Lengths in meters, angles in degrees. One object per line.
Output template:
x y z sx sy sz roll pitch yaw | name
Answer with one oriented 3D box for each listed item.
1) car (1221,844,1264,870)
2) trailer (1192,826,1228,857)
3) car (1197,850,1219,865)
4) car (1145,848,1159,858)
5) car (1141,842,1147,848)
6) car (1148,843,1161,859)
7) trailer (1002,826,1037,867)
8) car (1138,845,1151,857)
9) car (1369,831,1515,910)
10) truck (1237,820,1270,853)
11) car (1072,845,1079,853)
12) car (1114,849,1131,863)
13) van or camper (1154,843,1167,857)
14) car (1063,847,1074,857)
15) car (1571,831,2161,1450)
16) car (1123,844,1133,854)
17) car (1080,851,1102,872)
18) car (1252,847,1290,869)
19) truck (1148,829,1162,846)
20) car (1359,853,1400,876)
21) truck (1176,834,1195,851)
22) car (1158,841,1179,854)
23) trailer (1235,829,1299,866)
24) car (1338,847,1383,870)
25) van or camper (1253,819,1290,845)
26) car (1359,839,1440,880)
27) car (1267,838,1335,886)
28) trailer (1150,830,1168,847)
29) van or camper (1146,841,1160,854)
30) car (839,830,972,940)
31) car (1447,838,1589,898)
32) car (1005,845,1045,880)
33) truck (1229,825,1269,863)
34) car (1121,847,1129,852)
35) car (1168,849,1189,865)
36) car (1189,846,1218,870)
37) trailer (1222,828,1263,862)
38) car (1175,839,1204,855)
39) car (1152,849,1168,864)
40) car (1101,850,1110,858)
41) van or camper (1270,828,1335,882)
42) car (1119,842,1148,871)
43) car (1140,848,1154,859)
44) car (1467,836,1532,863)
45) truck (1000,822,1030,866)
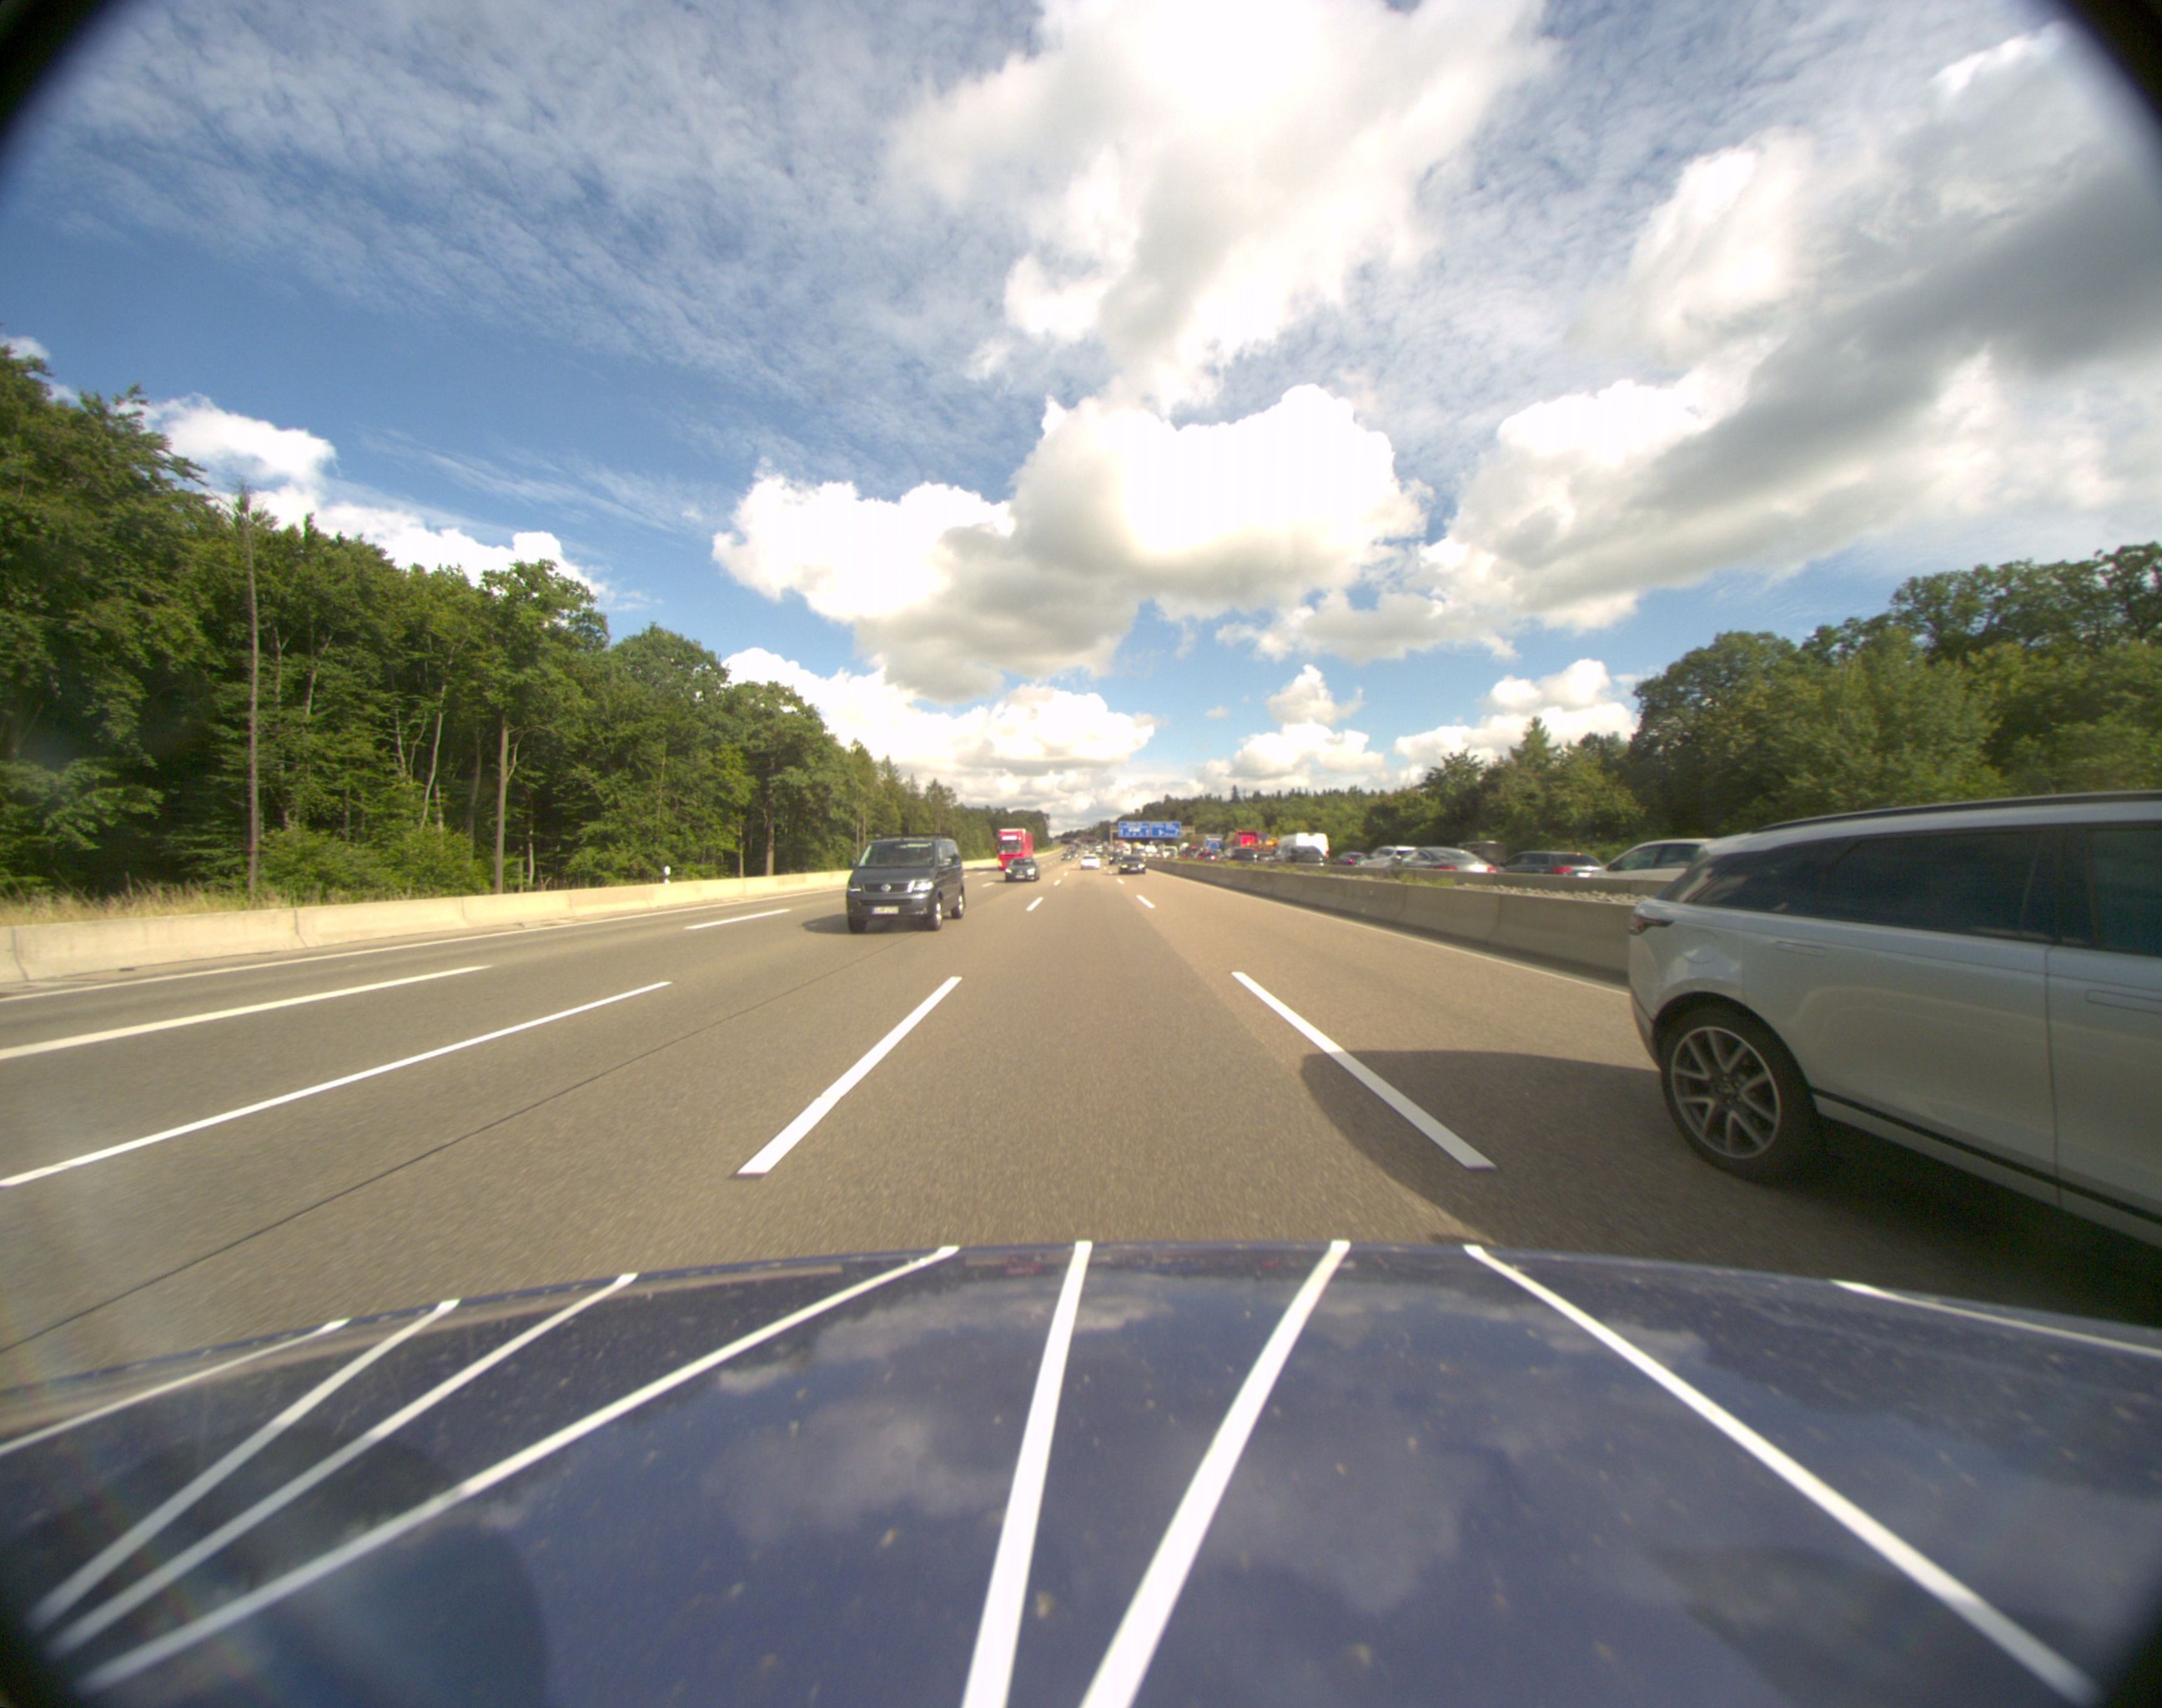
10.392 0.155 49.242 1.841 1.582 4.288 0 1 0 | car
18.946 -1.901 112.486 2.778 4.211 13.654 -2 2 0 | trailer
14.279 0.404 85.562 1.640 1.582 3.999 -2 1 0 | car
10.871 -0.178 117.141 1.761 1.369 3.999 -1 0 0 | car
21.068 -3.087 253.641 1.804 1.865 3.950 -1 1 1 | car
14.081 -0.669 145.567 1.998 2.946 5.402 -3 1 0 | car
-6.534 -0.914 83.150 2.531 4.096 14.373 -1 1 0 | trailer
10.867 -0.527 130.878 1.998 2.002 4.408 -1 2 1 | car
10.152 0.404 21.891 1.910 2.002 5.091 0 0 2 | car
22.322 -2.200 98.554 2.819 4.125 5.452 -1 1 0 | truck
-1.417 -1.229 194.149 1.804 1.865 3.950 -1 1 1 | car
5.096 0.248 94.463 1.911 1.582 4.286 -2 2 0 | car
16.195 -0.831 155.660 2.050 2.696 5.749 -2 2 1 | van or camper
-2.374 -0.408 142.790 1.911 1.582 4.285 -2 2 -2 | car
3.772 0.746 1.814 1.905 1.597 5.104 -1 1 0 | car
11.523 -1.260 186.266 1.998 2.088 5.276 -2 2 1 | car
1.005 0.714 74.372 1.998 2.002 4.000 -2 0 2 | car
15.104 0.304 60.686 1.998 1.527 4.426 -2 2 2 | car
19.134 -4.321 196.391 2.860 4.210 5.712 -2 1 1 | truck
30.688 1.080 78.316 1.890 2.002 6.325 -2 2 2 | car
18.921 -2.070 137.719 2.334 2.785 7.948 -3 1 0 | truck
10.727 -0.820 93.073 1.854 1.347 5.486 -2 2 0 | car
18.453 -0.631 76.521 2.735 3.316 14.217 -2 0 0 | trailer
21.823 0.303 59.572 1.998 1.527 4.426 -2 2 2 | car
23.155 -2.641 92.549 2.579 3.060 7.194 -2 1 0 | van or camper
14.055 0.177 33.805 1.998 1.587 3.999 -2 2 2 | car
9.969 0.329 34.756 1.887 2.002 4.519 -1 0 2 | car
19.127 -3.881 187.070 2.837 3.953 15.999 -2 2 1 | trailer
15.875 -1.439 167.842 2.397 2.696 6.629 -2 2 1 | van or camper
-3.835 0.585 17.581 1.927 2.153 4.960 -1 1 0 | car
13.621 0.353 24.063 1.998 1.587 4.523 -2 2 2 | car
-3.288 0.479 45.297 1.998 2.002 4.000 0 1 2 | car
18.389 -1.032 83.471 2.783 3.915 6.852 -2 1 0 | truck
11.685 -1.170 201.995 1.700 1.364 4.000 -3 0 1 | car
10.539 0.337 82.613 1.728 1.594 3.999 -2 1 0 | car
10.139 0.318 63.272 1.691 1.806 4.294 -2 2 0 | car
22.387 -1.384 106.059 2.816 4.097 14.034 -2 3 1 | trailer
10.244 -0.675 72.042 1.819 1.341 6.231 -2 1 0 | car
10.941 0.326 105.278 1.691 1.806 4.294 -2 2 0 | car
5.257 0.020 165.487 1.804 1.783 3.757 -1 1 1 | car
13.996 0.037 48.435 2.144 3.154 6.243 -2 1 0 | van or camper
3.795 0.179 55.253 1.919 2.002 4.000 -2 0 2 | car
11.543 -0.094 132.184 1.998 1.733 4.294 -3 1 0 | car
26.323 -0.292 47.985 1.841 1.582 4.003 0 1 0 | car
-6.584 -1.026 76.274 2.532 4.179 4.652 -1 2 0 | truck
